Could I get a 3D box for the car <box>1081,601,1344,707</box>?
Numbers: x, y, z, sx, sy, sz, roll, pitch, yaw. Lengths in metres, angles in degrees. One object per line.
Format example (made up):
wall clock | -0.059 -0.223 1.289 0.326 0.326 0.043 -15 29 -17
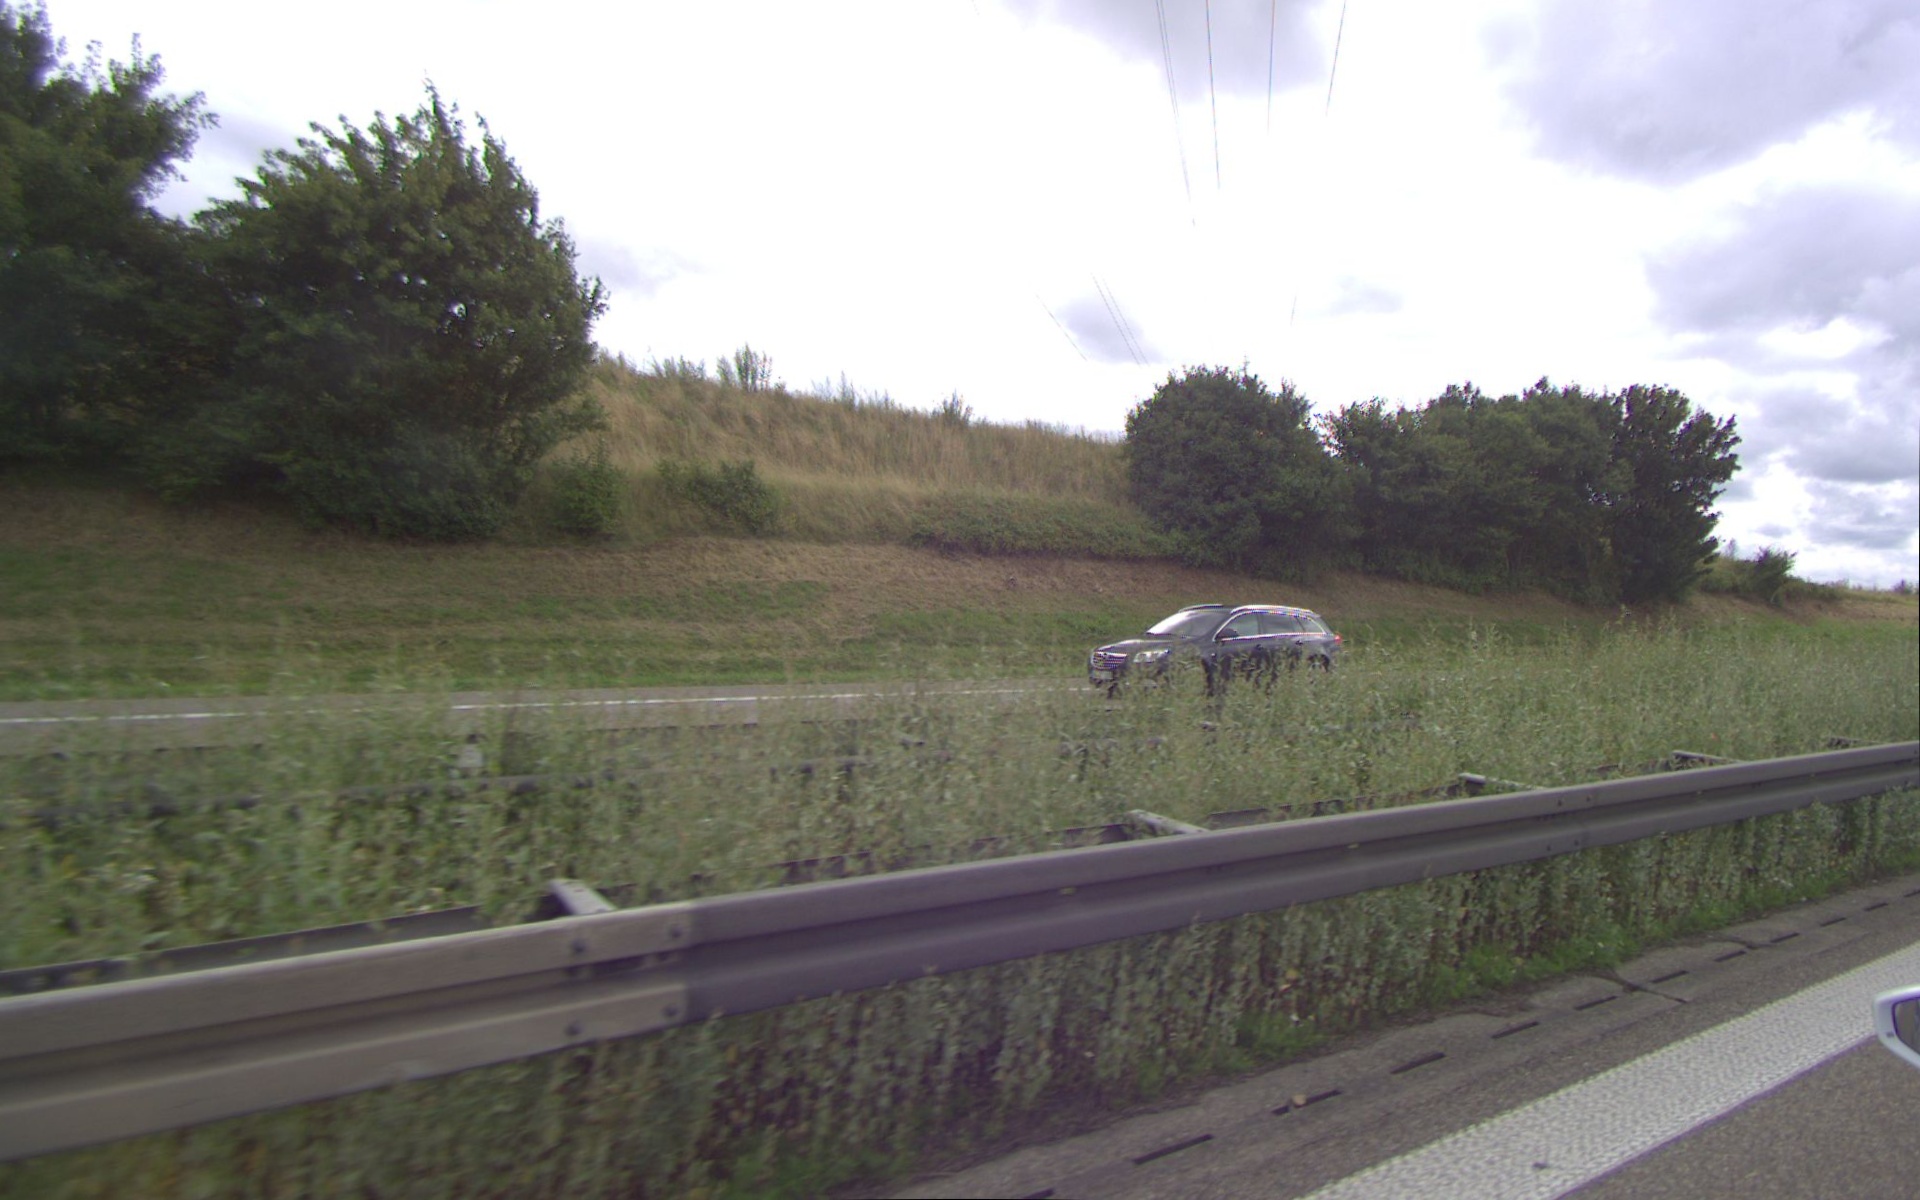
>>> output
car | 4.011 0.812 15.822 3.955 1.472 1.737 2 0 -32
